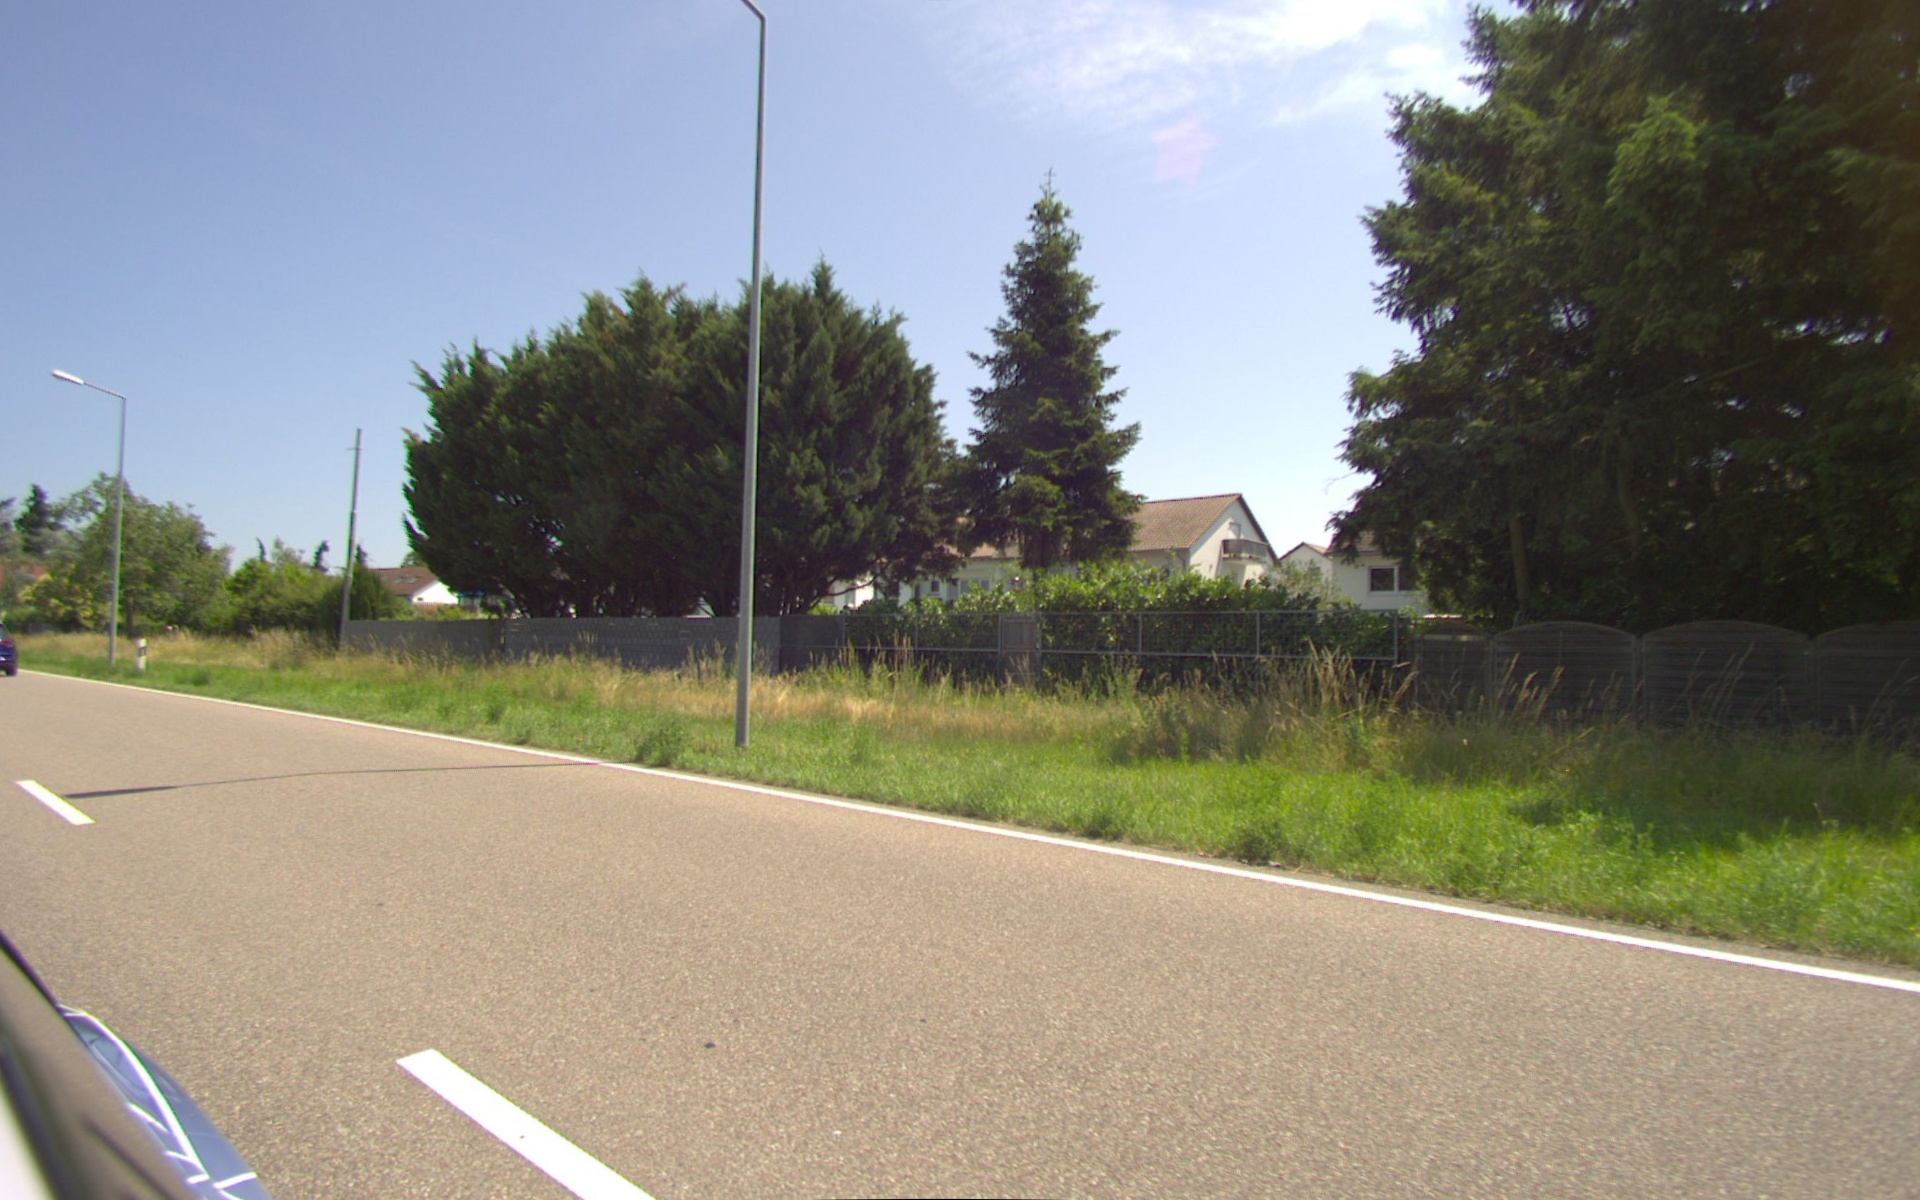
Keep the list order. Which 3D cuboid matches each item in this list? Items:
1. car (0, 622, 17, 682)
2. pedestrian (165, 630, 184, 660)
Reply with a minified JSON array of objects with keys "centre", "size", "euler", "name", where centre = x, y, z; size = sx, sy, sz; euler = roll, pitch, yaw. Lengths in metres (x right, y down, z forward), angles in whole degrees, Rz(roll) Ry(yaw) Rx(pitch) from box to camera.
[{"centre":[-28.244,1.444,28.686],"size":[4.027,1.644,1.729],"euler":[-1,-2,40],"name":"car"},{"centre":[-39.269,2.258,50.591],"size":[0.633,1.489,0.603],"euler":[-1,-2,39],"name":"pedestrian"}]
